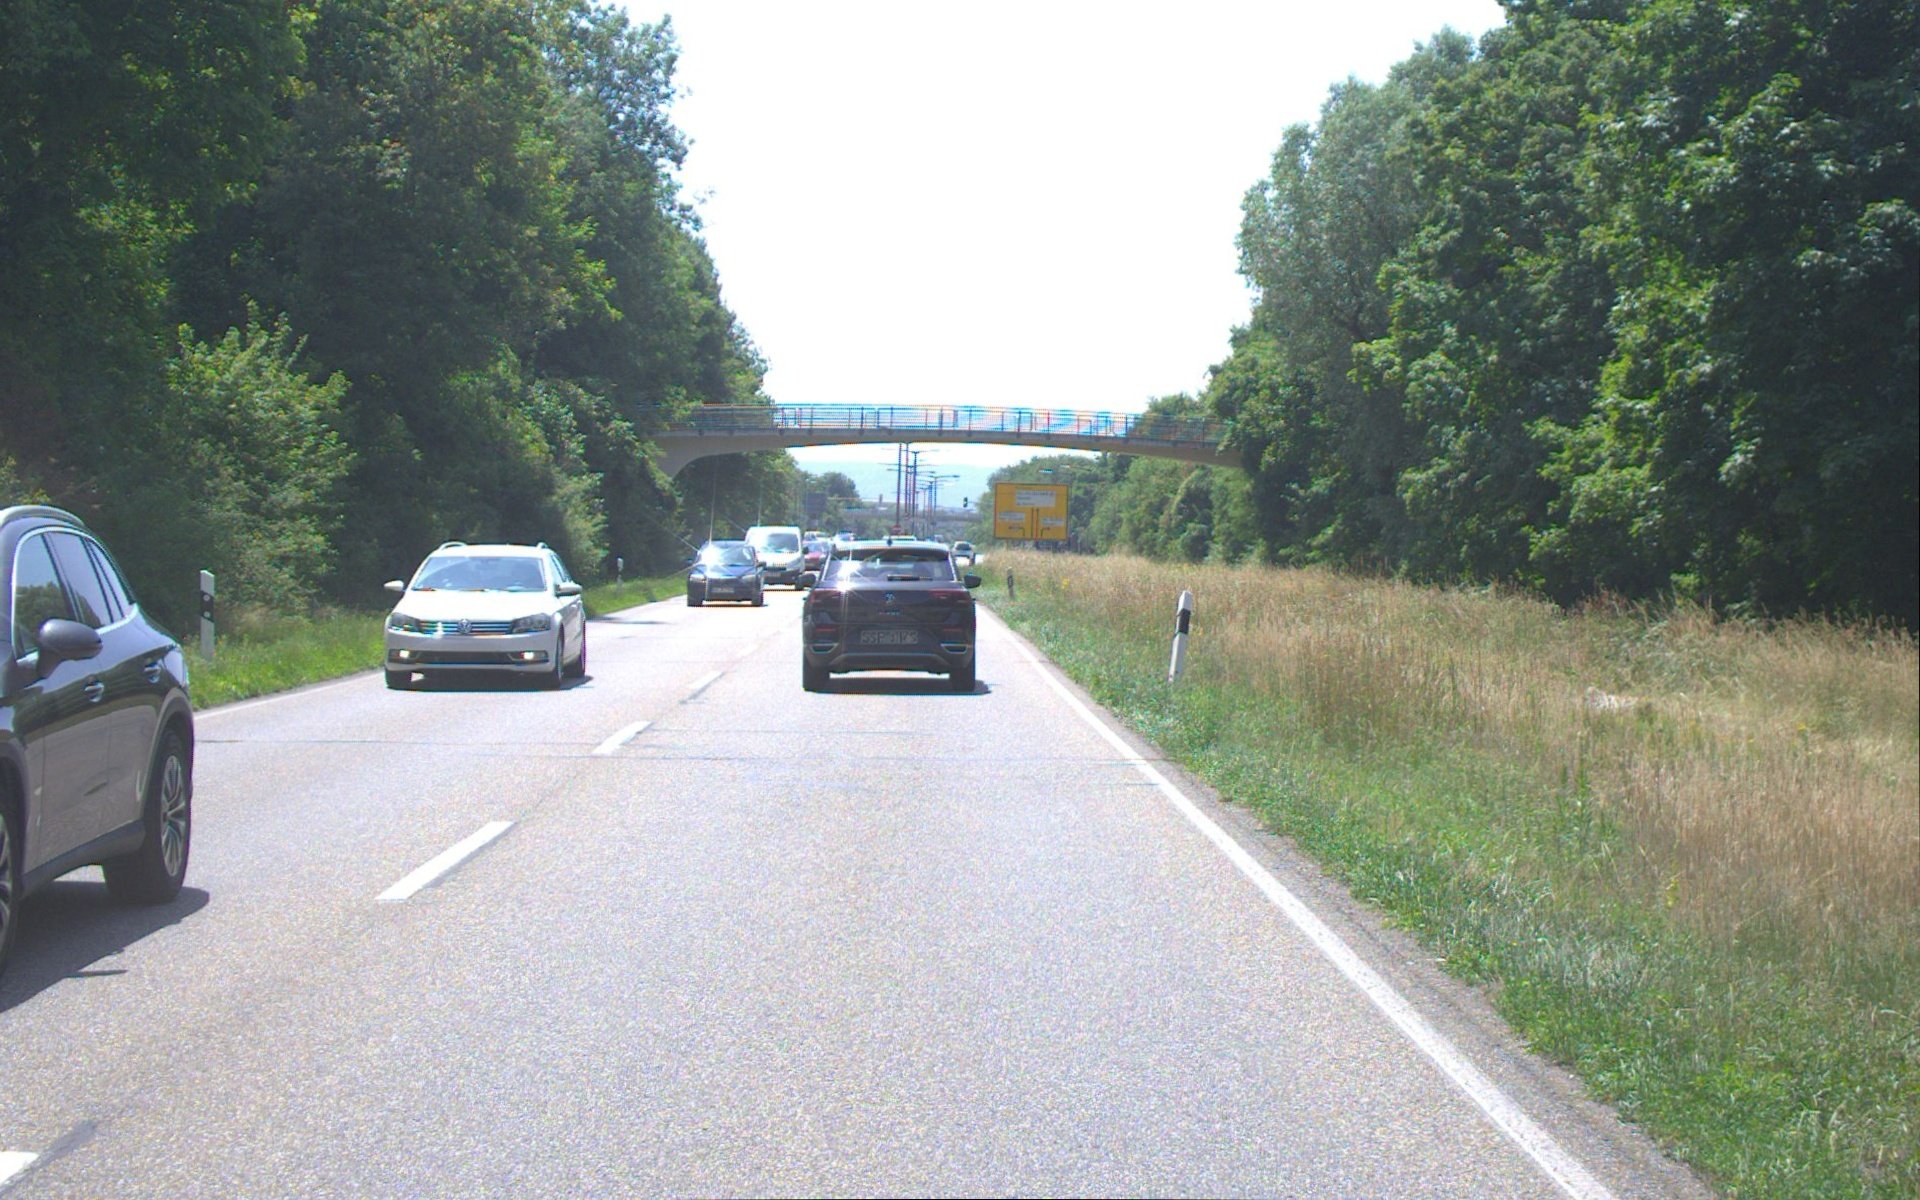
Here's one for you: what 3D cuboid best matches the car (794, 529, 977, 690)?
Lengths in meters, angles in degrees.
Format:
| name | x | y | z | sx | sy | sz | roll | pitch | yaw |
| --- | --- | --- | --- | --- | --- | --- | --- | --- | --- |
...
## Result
| name | x | y | z | sx | sy | sz | roll | pitch | yaw |
| --- | --- | --- | --- | --- | --- | --- | --- | --- | --- |
| car | -0.735 | 0.068 | 36.197 | 1.755 | 1.551 | 4.000 | 2 | 1 | 1 |

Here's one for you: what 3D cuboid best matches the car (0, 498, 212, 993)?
| name | x | y | z | sx | sy | sz | roll | pitch | yaw |
| --- | --- | --- | --- | --- | --- | --- | --- | --- | --- |
| car | -4.105 | 0.436 | 12.695 | 1.865 | 1.619 | 4.201 | 0 | 1 | -2 |

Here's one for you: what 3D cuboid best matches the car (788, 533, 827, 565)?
| name | x | y | z | sx | sy | sz | roll | pitch | yaw |
| --- | --- | --- | --- | --- | --- | --- | --- | --- | --- |
| car | -7.115 | -2.382 | 160.255 | 1.682 | 1.488 | 4.000 | 0 | 1 | -1 |

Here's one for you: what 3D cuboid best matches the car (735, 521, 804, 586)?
| name | x | y | z | sx | sy | sz | roll | pitch | yaw |
| --- | --- | --- | --- | --- | --- | --- | --- | --- | --- |
| car | -5.779 | -1.428 | 104.799 | 1.875 | 1.922 | 4.988 | 1 | 1 | -1 |

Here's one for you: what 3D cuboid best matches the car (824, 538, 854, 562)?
| name | x | y | z | sx | sy | sz | roll | pitch | yaw |
| --- | --- | --- | --- | --- | --- | --- | --- | --- | --- |
| car | -7.634 | -3.159 | 216.988 | 1.677 | 1.428 | 3.772 | -1 | 1 | 0 |

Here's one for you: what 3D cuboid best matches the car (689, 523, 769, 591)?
| name | x | y | z | sx | sy | sz | roll | pitch | yaw |
| --- | --- | --- | --- | --- | --- | --- | --- | --- | --- |
| car | -5.336 | -0.999 | 79.734 | 1.672 | 1.513 | 4.000 | 1 | 1 | -1 |

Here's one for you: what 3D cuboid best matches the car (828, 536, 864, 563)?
| name | x | y | z | sx | sy | sz | roll | pitch | yaw |
| --- | --- | --- | --- | --- | --- | --- | --- | --- | --- |
| car | -6.157 | -2.726 | 186.180 | 1.783 | 1.444 | 4.109 | 0 | 1 | 1 |

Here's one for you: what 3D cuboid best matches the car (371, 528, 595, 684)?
| name | x | y | z | sx | sy | sz | roll | pitch | yaw |
| --- | --- | --- | --- | --- | --- | --- | --- | --- | --- |
| car | -4.967 | 0.011 | 36.354 | 1.839 | 1.531 | 4.659 | 0 | 1 | -2 |
